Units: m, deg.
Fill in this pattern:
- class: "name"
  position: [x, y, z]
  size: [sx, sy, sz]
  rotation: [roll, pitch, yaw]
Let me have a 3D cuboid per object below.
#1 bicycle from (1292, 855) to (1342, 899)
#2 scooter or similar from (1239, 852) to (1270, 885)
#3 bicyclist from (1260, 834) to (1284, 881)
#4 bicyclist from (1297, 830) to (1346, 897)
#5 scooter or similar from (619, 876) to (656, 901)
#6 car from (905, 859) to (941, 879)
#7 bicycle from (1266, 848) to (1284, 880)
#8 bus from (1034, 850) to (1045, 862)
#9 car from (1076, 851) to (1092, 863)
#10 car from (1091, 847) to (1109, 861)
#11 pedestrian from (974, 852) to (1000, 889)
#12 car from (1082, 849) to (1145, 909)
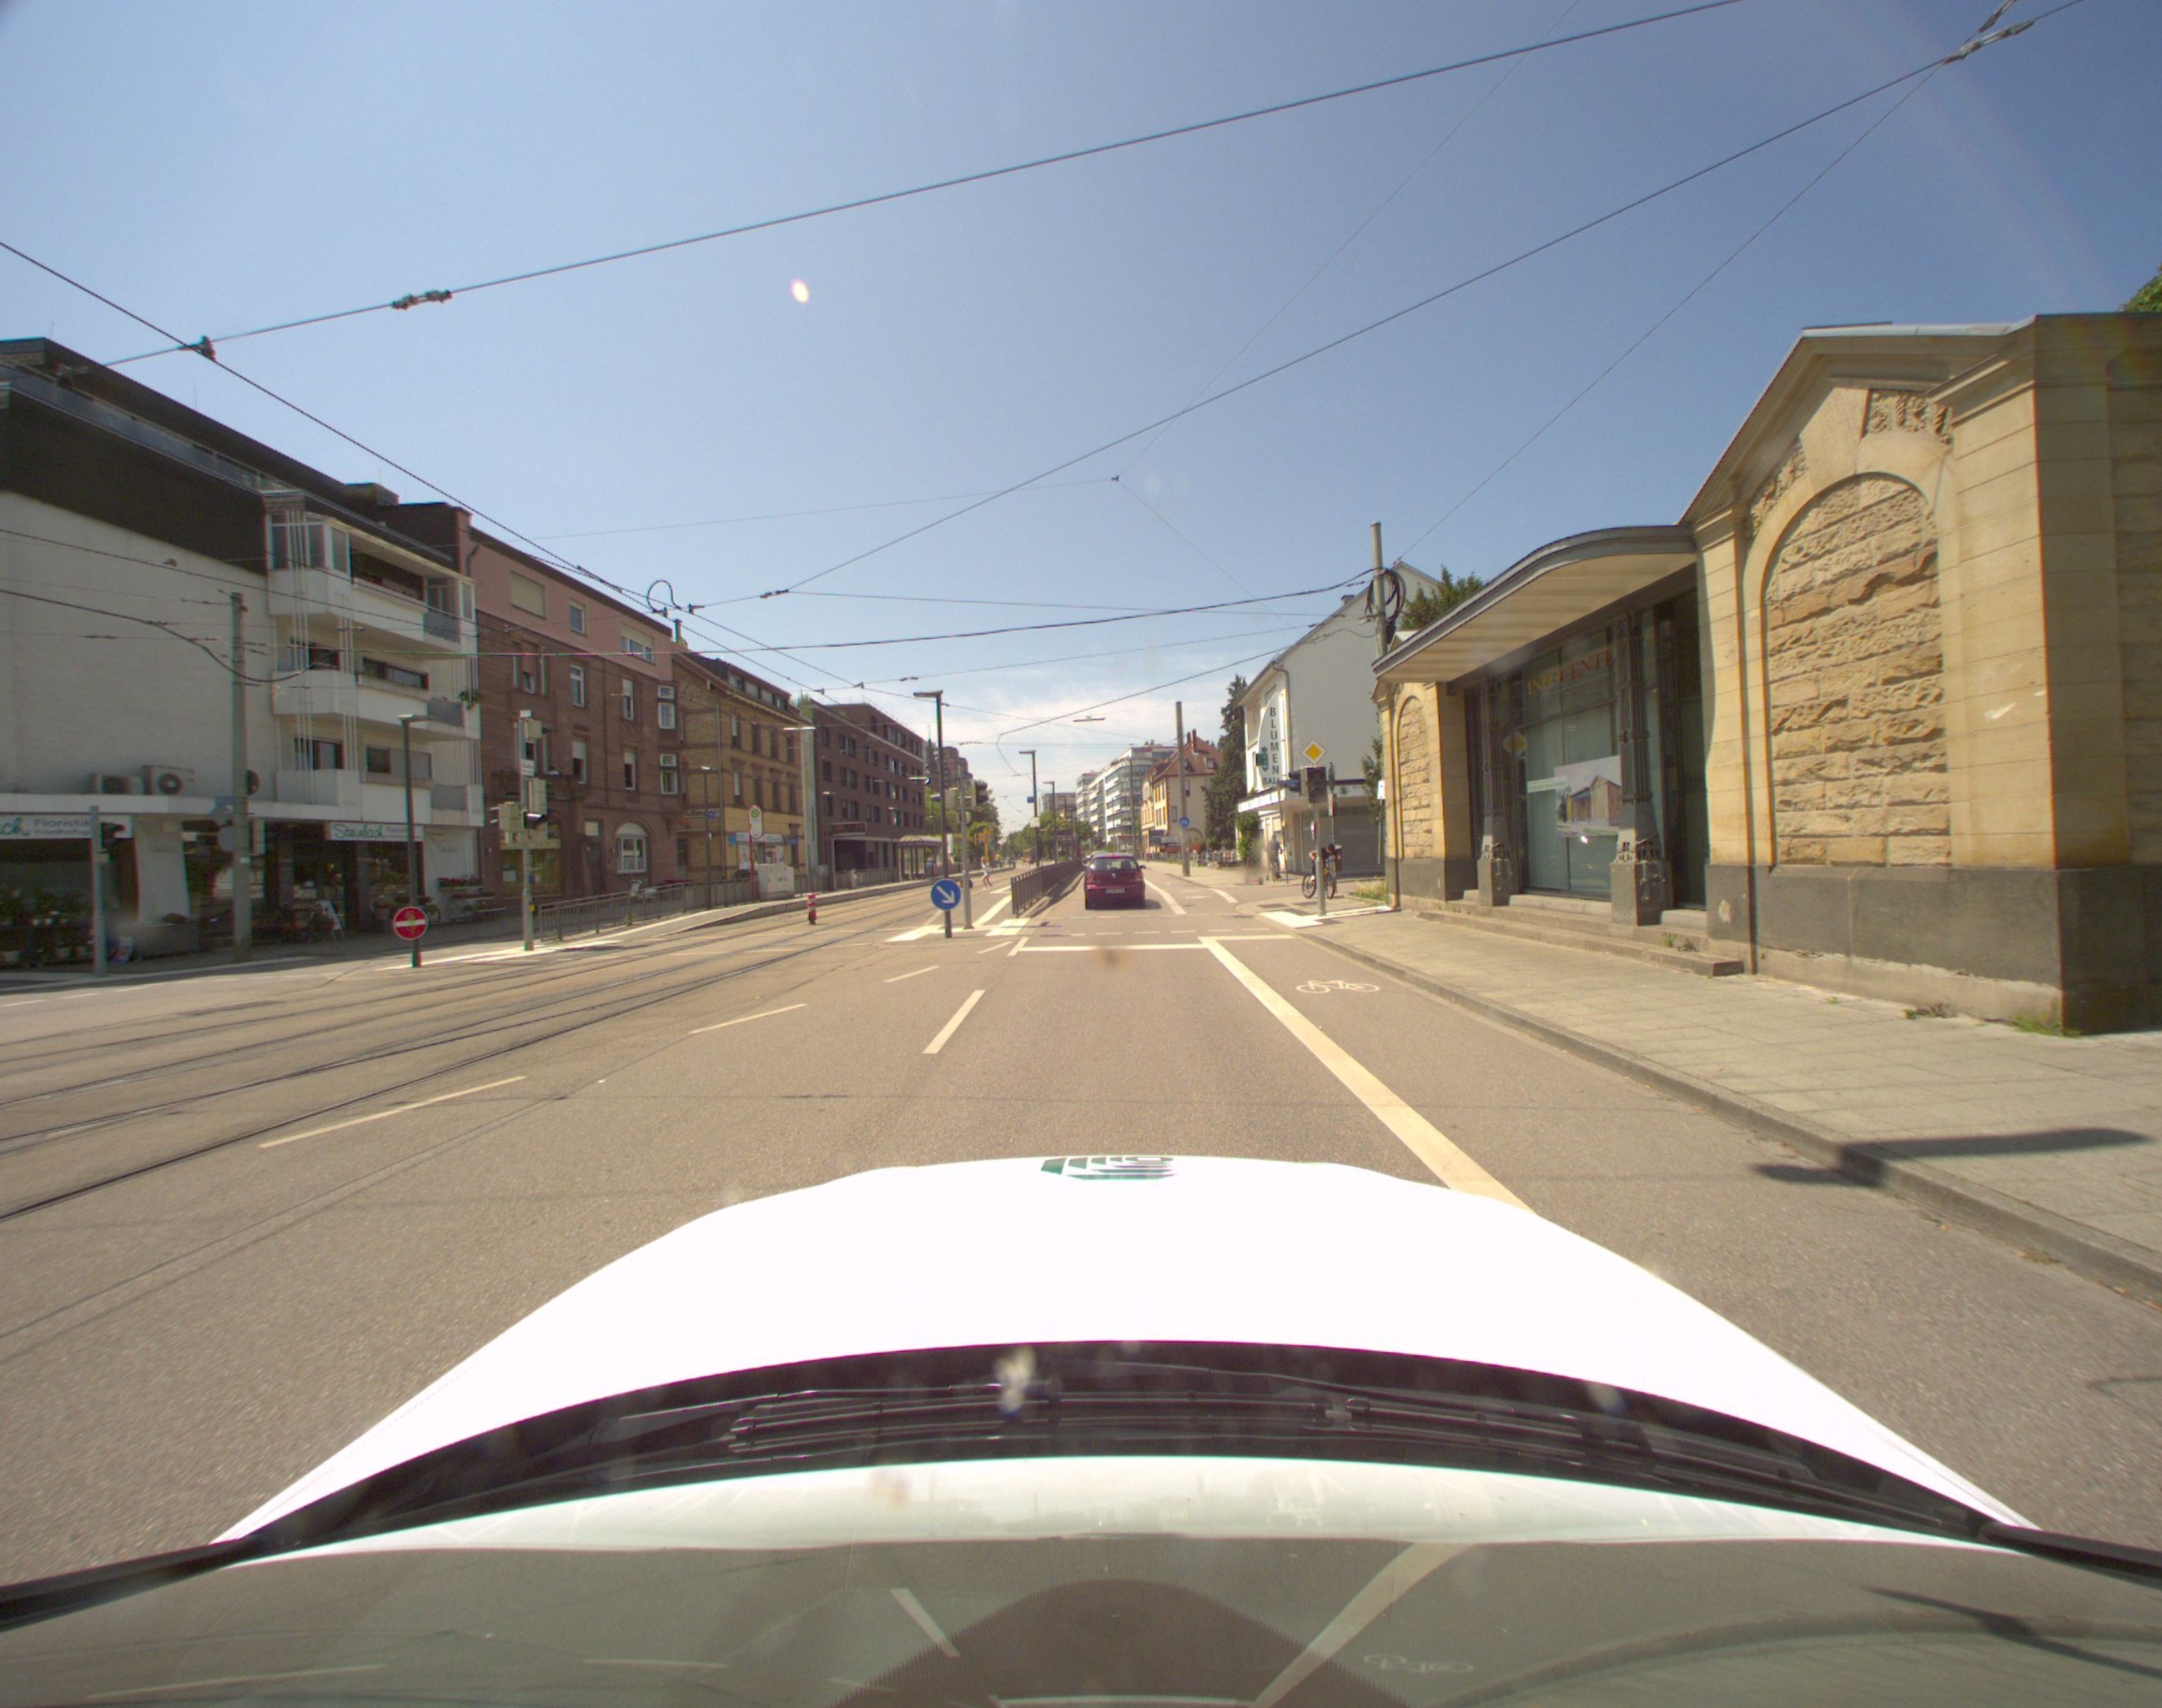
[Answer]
- class: "bicycle"
  position: [6.110, 0.572, 21.188]
  size: [0.666, 1.002, 1.863]
  rotation: [-7, 1, 0]
- class: "scooter or similar"
  position: [6.444, 0.531, 30.294]
  size: [0.340, 1.178, 1.457]
  rotation: [-2, 0, -22]
- class: "bicyclist"
  position: [7.484, 0.128, 31.911]
  size: [0.721, 1.760, 0.929]
  rotation: [-3, 0, 21]
- class: "bicyclist"
  position: [6.252, 0.250, 21.204]
  size: [0.830, 1.618, 0.860]
  rotation: [-7, 0, 0]
- class: "scooter or similar"
  position: [-20.897, 1.628, 38.428]
  size: [0.484, 1.082, 1.584]
  rotation: [-3, 0, 18]
- class: "car"
  position: [-13.684, 1.269, 70.779]
  size: [1.985, 1.508, 4.004]
  rotation: [-3, 0, 4]
- class: "bicycle"
  position: [7.617, 0.370, 31.944]
  size: [0.372, 1.197, 1.915]
  rotation: [-3, 0, 22]
- class: "bus"
  position: [-10.298, 0.509, 202.987]
  size: [2.143, 3.003, 6.557]
  rotation: [-3, 0, -7]
- class: "car"
  position: [0.479, 0.515, 130.356]
  size: [1.991, 1.848, 3.992]
  rotation: [-3, 0, -6]
- class: "car"
  position: [2.328, 0.004, 101.393]
  size: [1.987, 1.624, 4.630]
  rotation: [-3, 0, 0]
- class: "pedestrian"
  position: [-4.461, 0.770, 38.844]
  size: [1.094, 1.674, 0.765]
  rotation: [-2, 0, -3]
- class: "car"
  position: [0.858, 0.647, 22.460]
  size: [1.556, 1.453, 3.062]
  rotation: [-3, 0, 1]
